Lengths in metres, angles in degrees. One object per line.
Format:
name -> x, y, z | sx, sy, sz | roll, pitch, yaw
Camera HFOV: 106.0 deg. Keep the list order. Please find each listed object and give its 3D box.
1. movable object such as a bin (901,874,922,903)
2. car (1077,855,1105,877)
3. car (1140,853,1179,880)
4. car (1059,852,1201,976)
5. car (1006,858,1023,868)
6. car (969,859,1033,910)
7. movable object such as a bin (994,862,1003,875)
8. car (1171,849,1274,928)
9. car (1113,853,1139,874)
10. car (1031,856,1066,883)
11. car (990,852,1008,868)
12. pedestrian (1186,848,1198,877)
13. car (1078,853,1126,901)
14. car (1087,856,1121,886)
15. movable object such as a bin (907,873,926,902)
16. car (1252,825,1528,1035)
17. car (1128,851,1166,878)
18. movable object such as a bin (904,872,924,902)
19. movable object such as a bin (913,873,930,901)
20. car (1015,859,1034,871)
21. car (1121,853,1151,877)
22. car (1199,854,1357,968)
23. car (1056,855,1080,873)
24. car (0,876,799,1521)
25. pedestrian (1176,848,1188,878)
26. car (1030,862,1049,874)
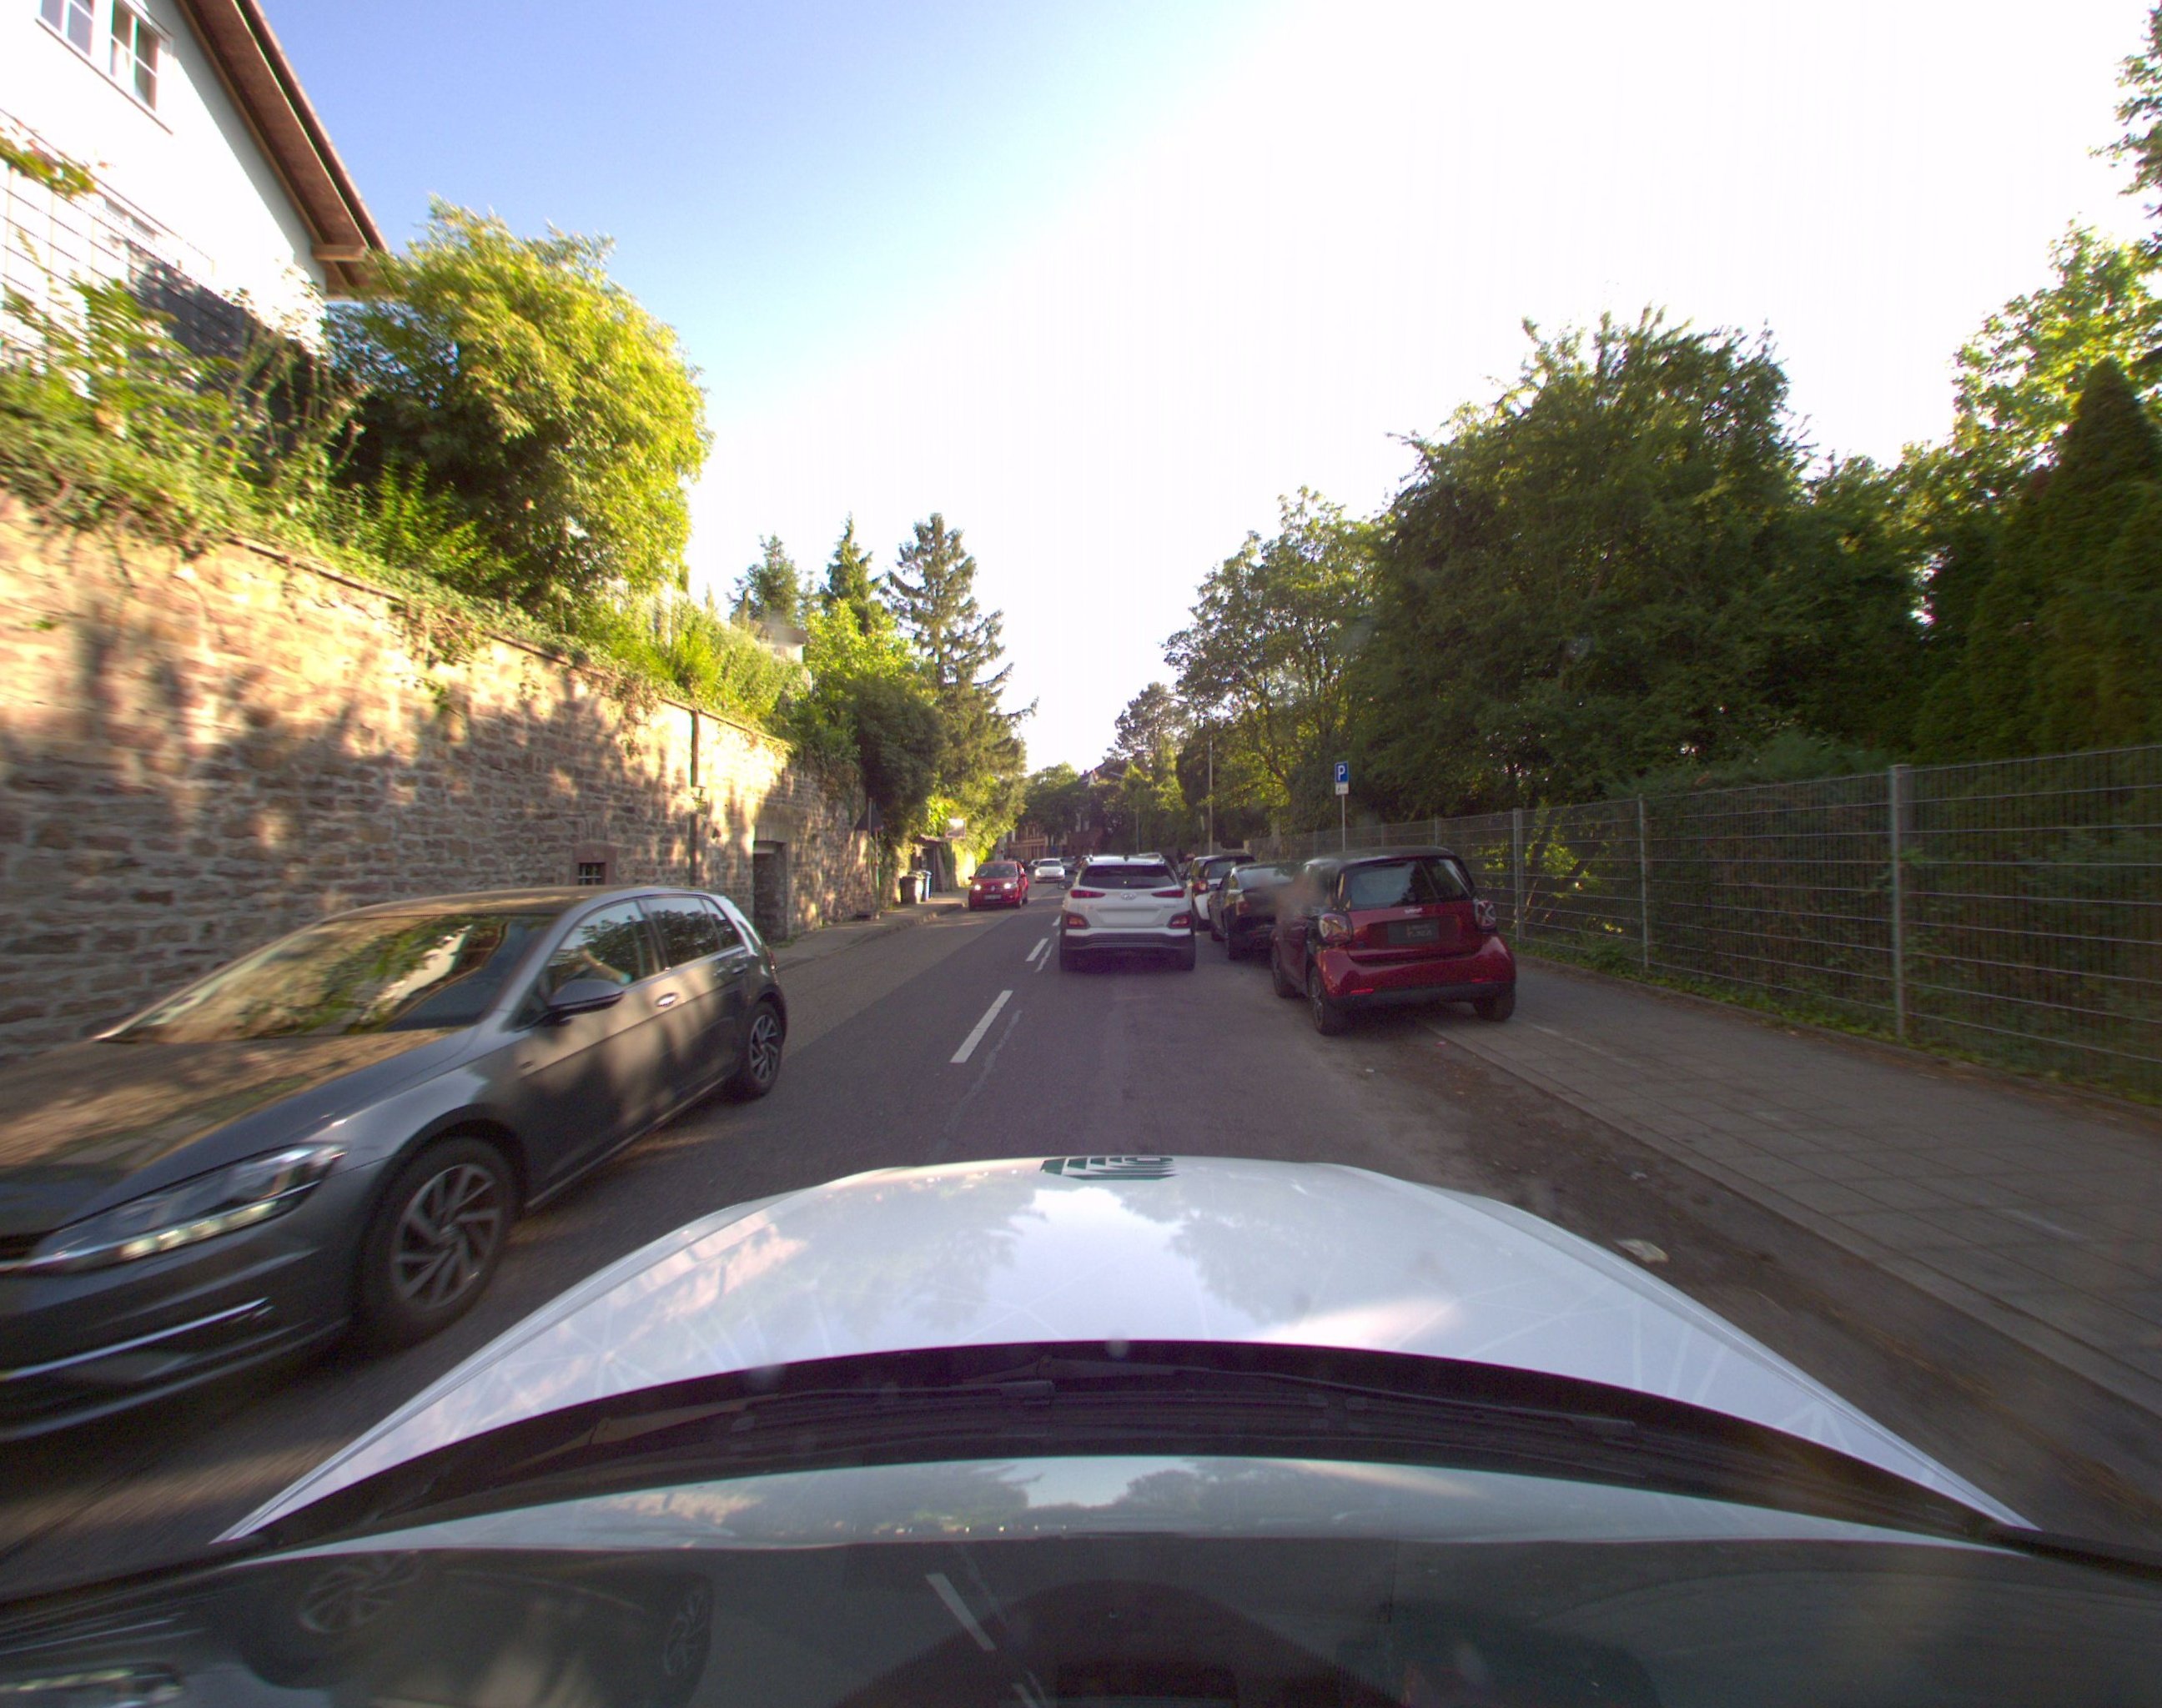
movable object such as a bin -> -5.594, 1.122, 26.887 | 0.582, 0.937, 0.438 | 0, -1, -1
car -> 0.711, 0.853, 58.416 | 1.591, 1.461, 3.091 | -1, 0, -7
car -> 4.452, 0.689, 46.581 | 1.681, 1.431, 3.998 | -3, 0, -1
car -> 0.690, 0.768, 12.262 | 1.765, 1.542, 4.002 | -1, 0, 2
car -> -8.568, 1.177, 104.531 | 1.530, 1.260, 3.343 | -1, 0, -16
car -> -2.540, 0.942, 26.440 | 1.544, 1.466, 3.570 | -3, 0, 2
movable object such as a bin -> -7.561, 1.292, 74.736 | 0.789, 1.189, 0.772 | 0, -1, 0
car -> 3.072, 0.691, 18.160 | 1.621, 1.509, 2.901 | -3, 1, -2
car -> 3.450, 0.707, 63.208 | 1.590, 1.489, 3.598 | -4, 0, -3
car -> -1.961, 0.915, 50.458 | 1.734, 1.474, 4.002 | -5, -1, 2
car -> -13.264, 0.992, 131.343 | 1.934, 2.583, 4.368 | -2, 0, -17
pedestrian -> 6.152, 0.483, 45.127 | 0.501, 1.569, 0.504 | -4, -1, 1
car -> 0.668, 0.751, 28.309 | 1.507, 1.533, 3.546 | -1, 0, -1
car -> 1.204, 0.835, 41.521 | 1.563, 1.477, 3.551 | 0, 0, 4
movable object such as a bin -> -5.623, 1.142, 27.834 | 0.571, 0.985, 0.438 | 0, -1, -1
car -> 2.820, 0.637, 8.088 | 1.646, 1.564, 2.875 | -6, -1, 3
car -> 4.159, 0.654, 52.101 | 1.592, 1.565, 3.990 | -3, -1, -7
movable object such as a bin -> -5.592, 1.100, 27.346 | 0.571, 0.985, 0.438 | 0, -1, -1
movable object such as a bin -> -5.550, 1.135, 28.403 | 0.488, 0.964, 0.583 | 0, 0, -1
car -> -7.866, 1.553, 112.905 | 1.759, 1.616, 3.979 | 0, 0, -16
car -> 3.826, 0.764, 57.311 | 1.590, 1.519, 3.928 | -4, 0, -3
car -> 3.003, 0.769, 13.364 | 1.703, 1.498, 4.818 | 1, 0, 4
car -> -1.219, 0.935, 74.946 | 1.590, 1.582, 3.349 | -1, 0, -10
car -> -2.894, 0.883, 3.885 | 1.643, 1.411, 3.931 | -2, 0, 1
pedestrian -> 5.584, 0.511, 45.139 | 0.501, 1.606, 0.491 | -4, -1, 1
car -> -4.623, 1.542, 89.584 | 1.528, 1.260, 3.346 | -1, 0, -13
